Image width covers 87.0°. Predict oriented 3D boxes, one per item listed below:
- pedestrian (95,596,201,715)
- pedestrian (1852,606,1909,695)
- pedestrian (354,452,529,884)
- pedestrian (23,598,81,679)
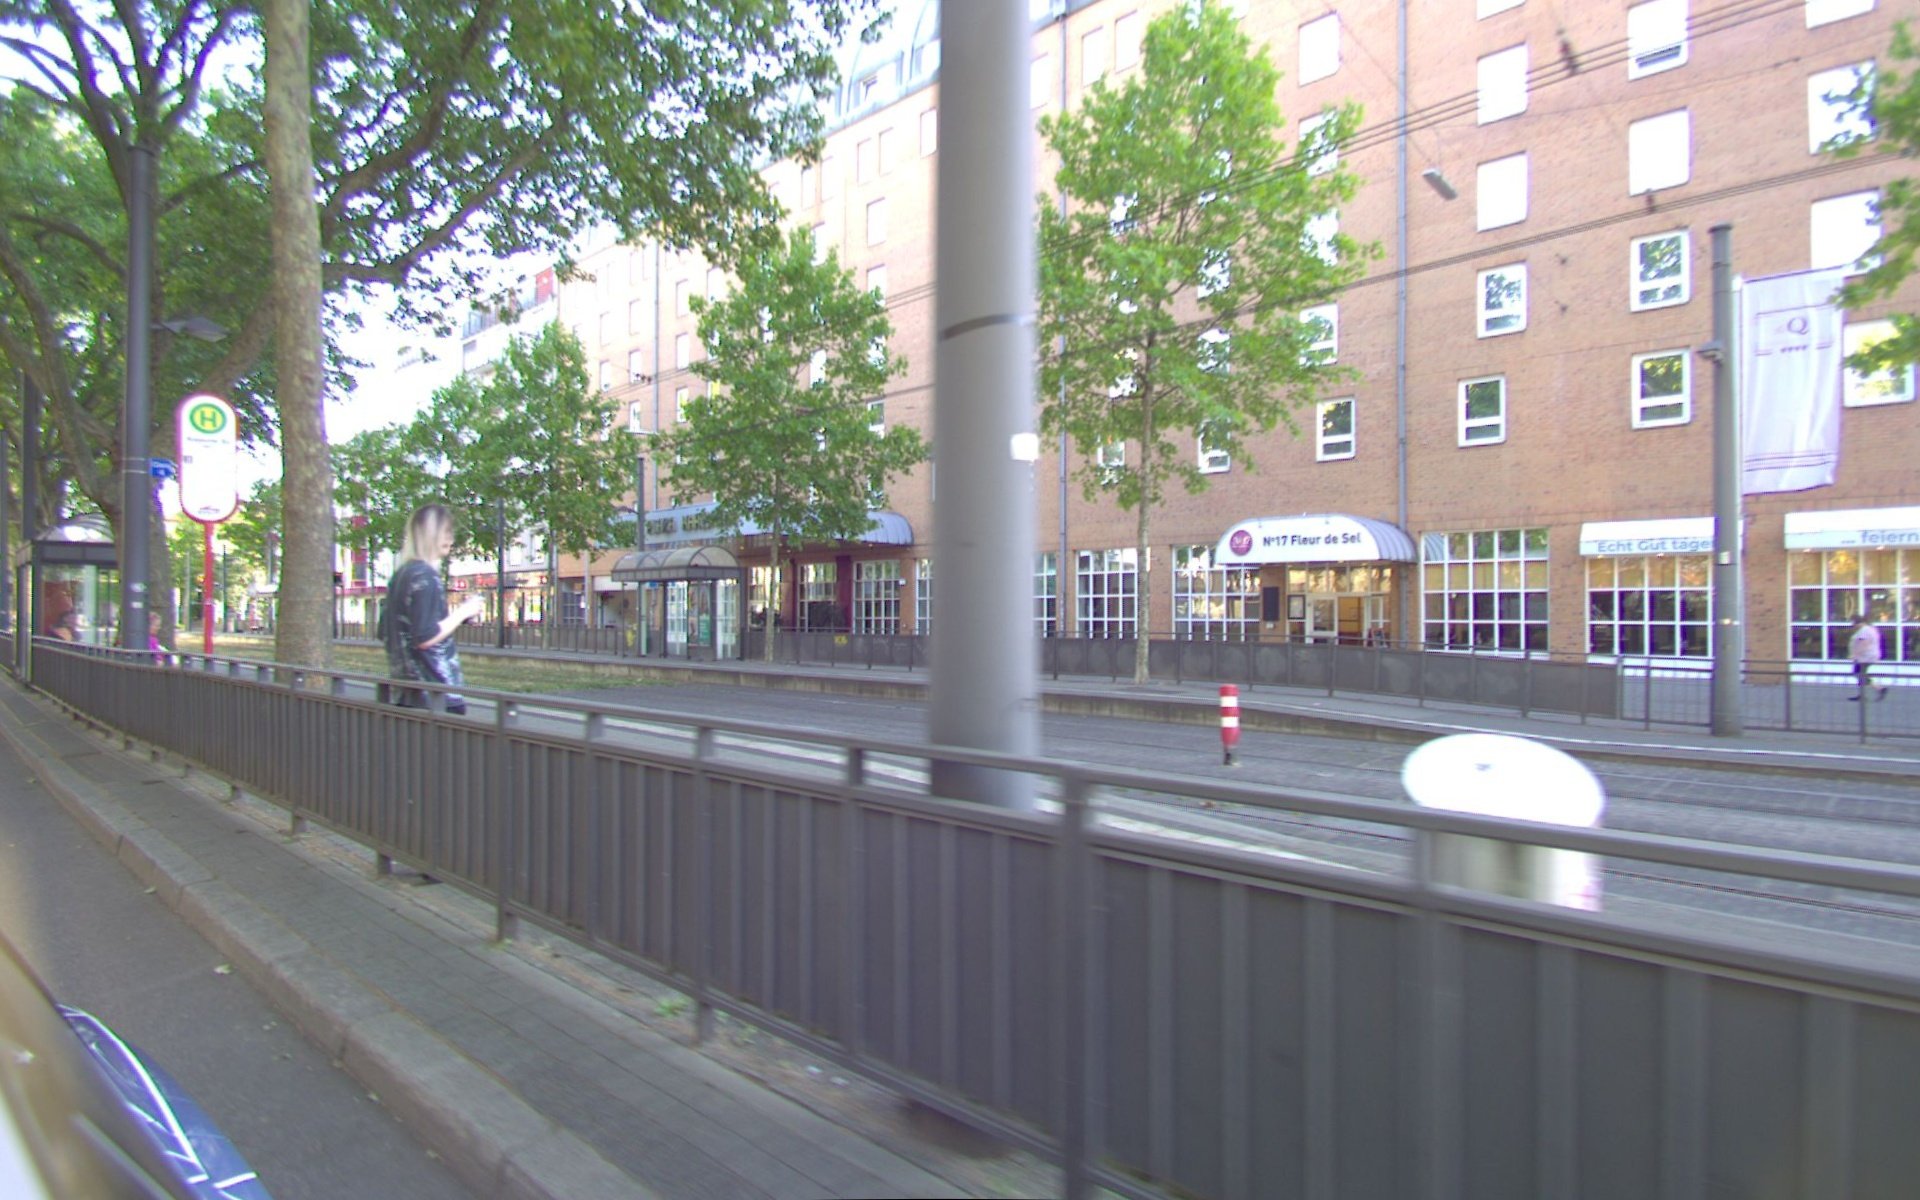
[{"bbox_3d":[-10.198,0.666,12.717,0.965,1.410,0.665,-1,1,-44],"label":"pedestrian"},{"bbox_3d":[16.991,0.917,18.693,0.725,1.596,0.583,-1,1,40],"label":"pedestrian"},{"bbox_3d":[-2.531,0.301,4.932,0.759,1.914,0.504,0,1,42],"label":"pedestrian"},{"bbox_3d":[-16.294,0.676,18.162,0.725,1.398,0.641,-1,1,-44],"label":"pedestrian"}]
